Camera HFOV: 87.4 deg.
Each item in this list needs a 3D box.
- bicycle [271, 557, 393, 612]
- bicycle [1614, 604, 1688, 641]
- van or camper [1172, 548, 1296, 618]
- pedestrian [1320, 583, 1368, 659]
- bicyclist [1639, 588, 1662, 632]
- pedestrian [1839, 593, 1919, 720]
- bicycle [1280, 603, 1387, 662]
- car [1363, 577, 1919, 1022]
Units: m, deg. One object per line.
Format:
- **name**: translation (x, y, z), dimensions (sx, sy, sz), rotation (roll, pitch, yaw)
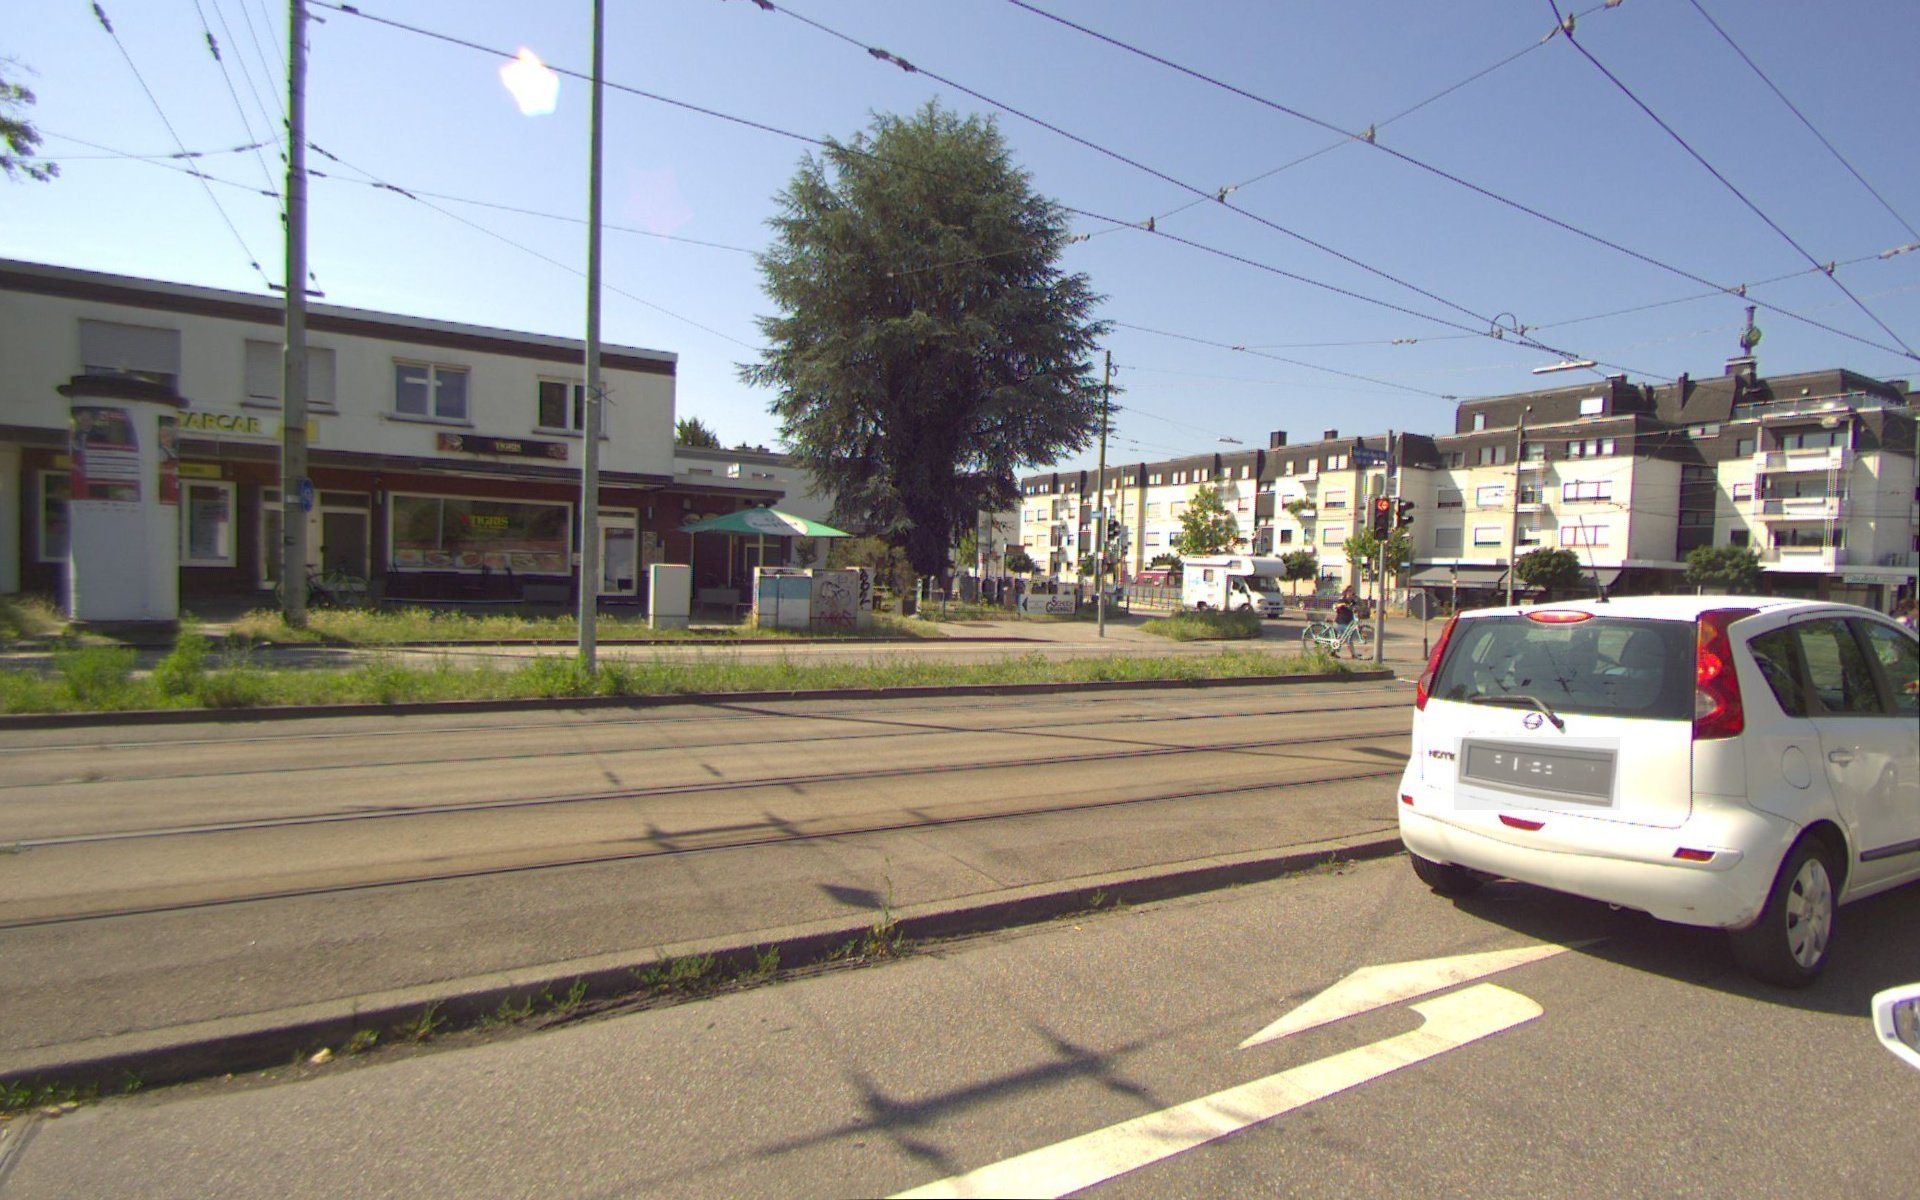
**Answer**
- **bicycle**: translation (-14.315, -0.332, 22.976), dimensions (2.306, 1.167, 0.783), rotation (1, 0, -30)
- **bicycle**: translation (25.899, 0.842, 37.676), dimensions (2.208, 1.314, 0.559), rotation (1, -1, 28)
- **van or camper**: translation (13.362, -0.791, 49.361), dimensions (2.545, 3.133, 5.656), rotation (2, -1, -30)
- **pedestrian**: translation (8.270, 0.435, 21.637), dimensions (0.671, 1.593, 0.738), rotation (0, 1, -44)
- **bicyclist**: translation (25.899, 0.372, 37.690), dimensions (0.626, 1.634, 0.562), rotation (2, 0, 28)
- **pedestrian**: translation (12.786, 0.765, 13.856), dimensions (0.960, 1.673, 0.951), rotation (1, -1, 41)
- **bicycle**: translation (7.886, 0.667, 21.286), dimensions (0.705, 1.105, 1.999), rotation (0, 2, -44)
- **car**: translation (4.029, 0.712, 5.245), dimensions (3.759, 1.587, 1.634), rotation (0, 1, -31)
